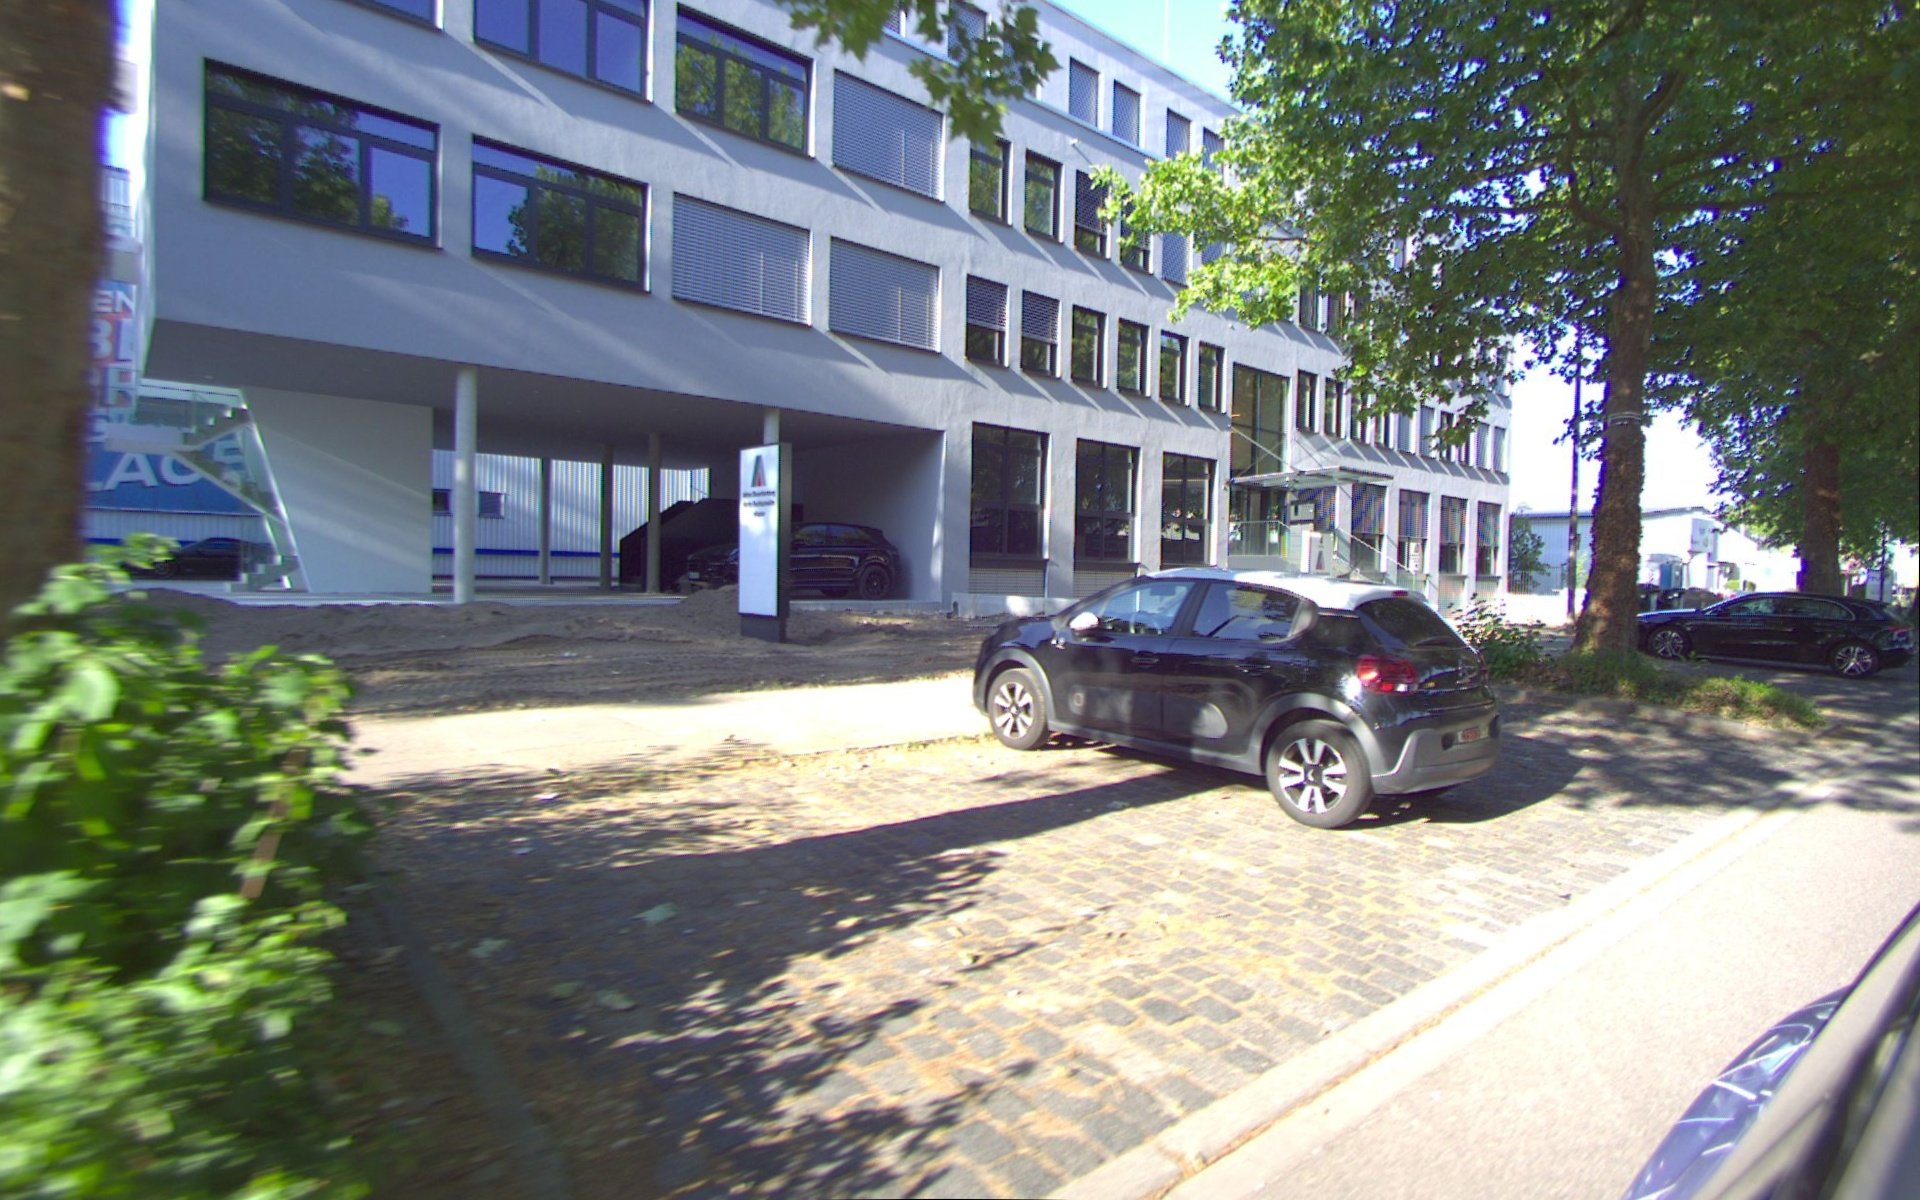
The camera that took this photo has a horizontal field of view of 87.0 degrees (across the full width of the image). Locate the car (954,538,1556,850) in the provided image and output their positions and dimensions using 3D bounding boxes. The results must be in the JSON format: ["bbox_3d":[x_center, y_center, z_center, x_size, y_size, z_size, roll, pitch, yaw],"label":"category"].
[{"bbox_3d":[1.914,0.407,7.427,1.829,1.503,3.793,-1,6,-42],"label":"car"}]

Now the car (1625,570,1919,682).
[{"bbox_3d":[15.285,0.374,18.991,1.829,1.503,4.294,-1,7,-42],"label":"car"}]

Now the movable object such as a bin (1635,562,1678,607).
[{"bbox_3d":[22.016,-0.495,31.976,1.592,1.367,0.749,-1,1,-41],"label":"movable object such as a bin"}]

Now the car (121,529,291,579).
[{"bbox_3d":[-22.258,-1.320,29.943,3.931,1.349,1.873,-1,1,-41],"label":"car"}]

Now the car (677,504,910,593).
[{"bbox_3d":[-3.551,-1.056,21.965,4.581,1.753,2.000,-1,1,-36],"label":"car"}]

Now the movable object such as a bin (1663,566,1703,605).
[{"bbox_3d":[24.049,-0.488,33.660,1.583,1.279,0.749,-1,1,-41],"label":"movable object such as a bin"}]
